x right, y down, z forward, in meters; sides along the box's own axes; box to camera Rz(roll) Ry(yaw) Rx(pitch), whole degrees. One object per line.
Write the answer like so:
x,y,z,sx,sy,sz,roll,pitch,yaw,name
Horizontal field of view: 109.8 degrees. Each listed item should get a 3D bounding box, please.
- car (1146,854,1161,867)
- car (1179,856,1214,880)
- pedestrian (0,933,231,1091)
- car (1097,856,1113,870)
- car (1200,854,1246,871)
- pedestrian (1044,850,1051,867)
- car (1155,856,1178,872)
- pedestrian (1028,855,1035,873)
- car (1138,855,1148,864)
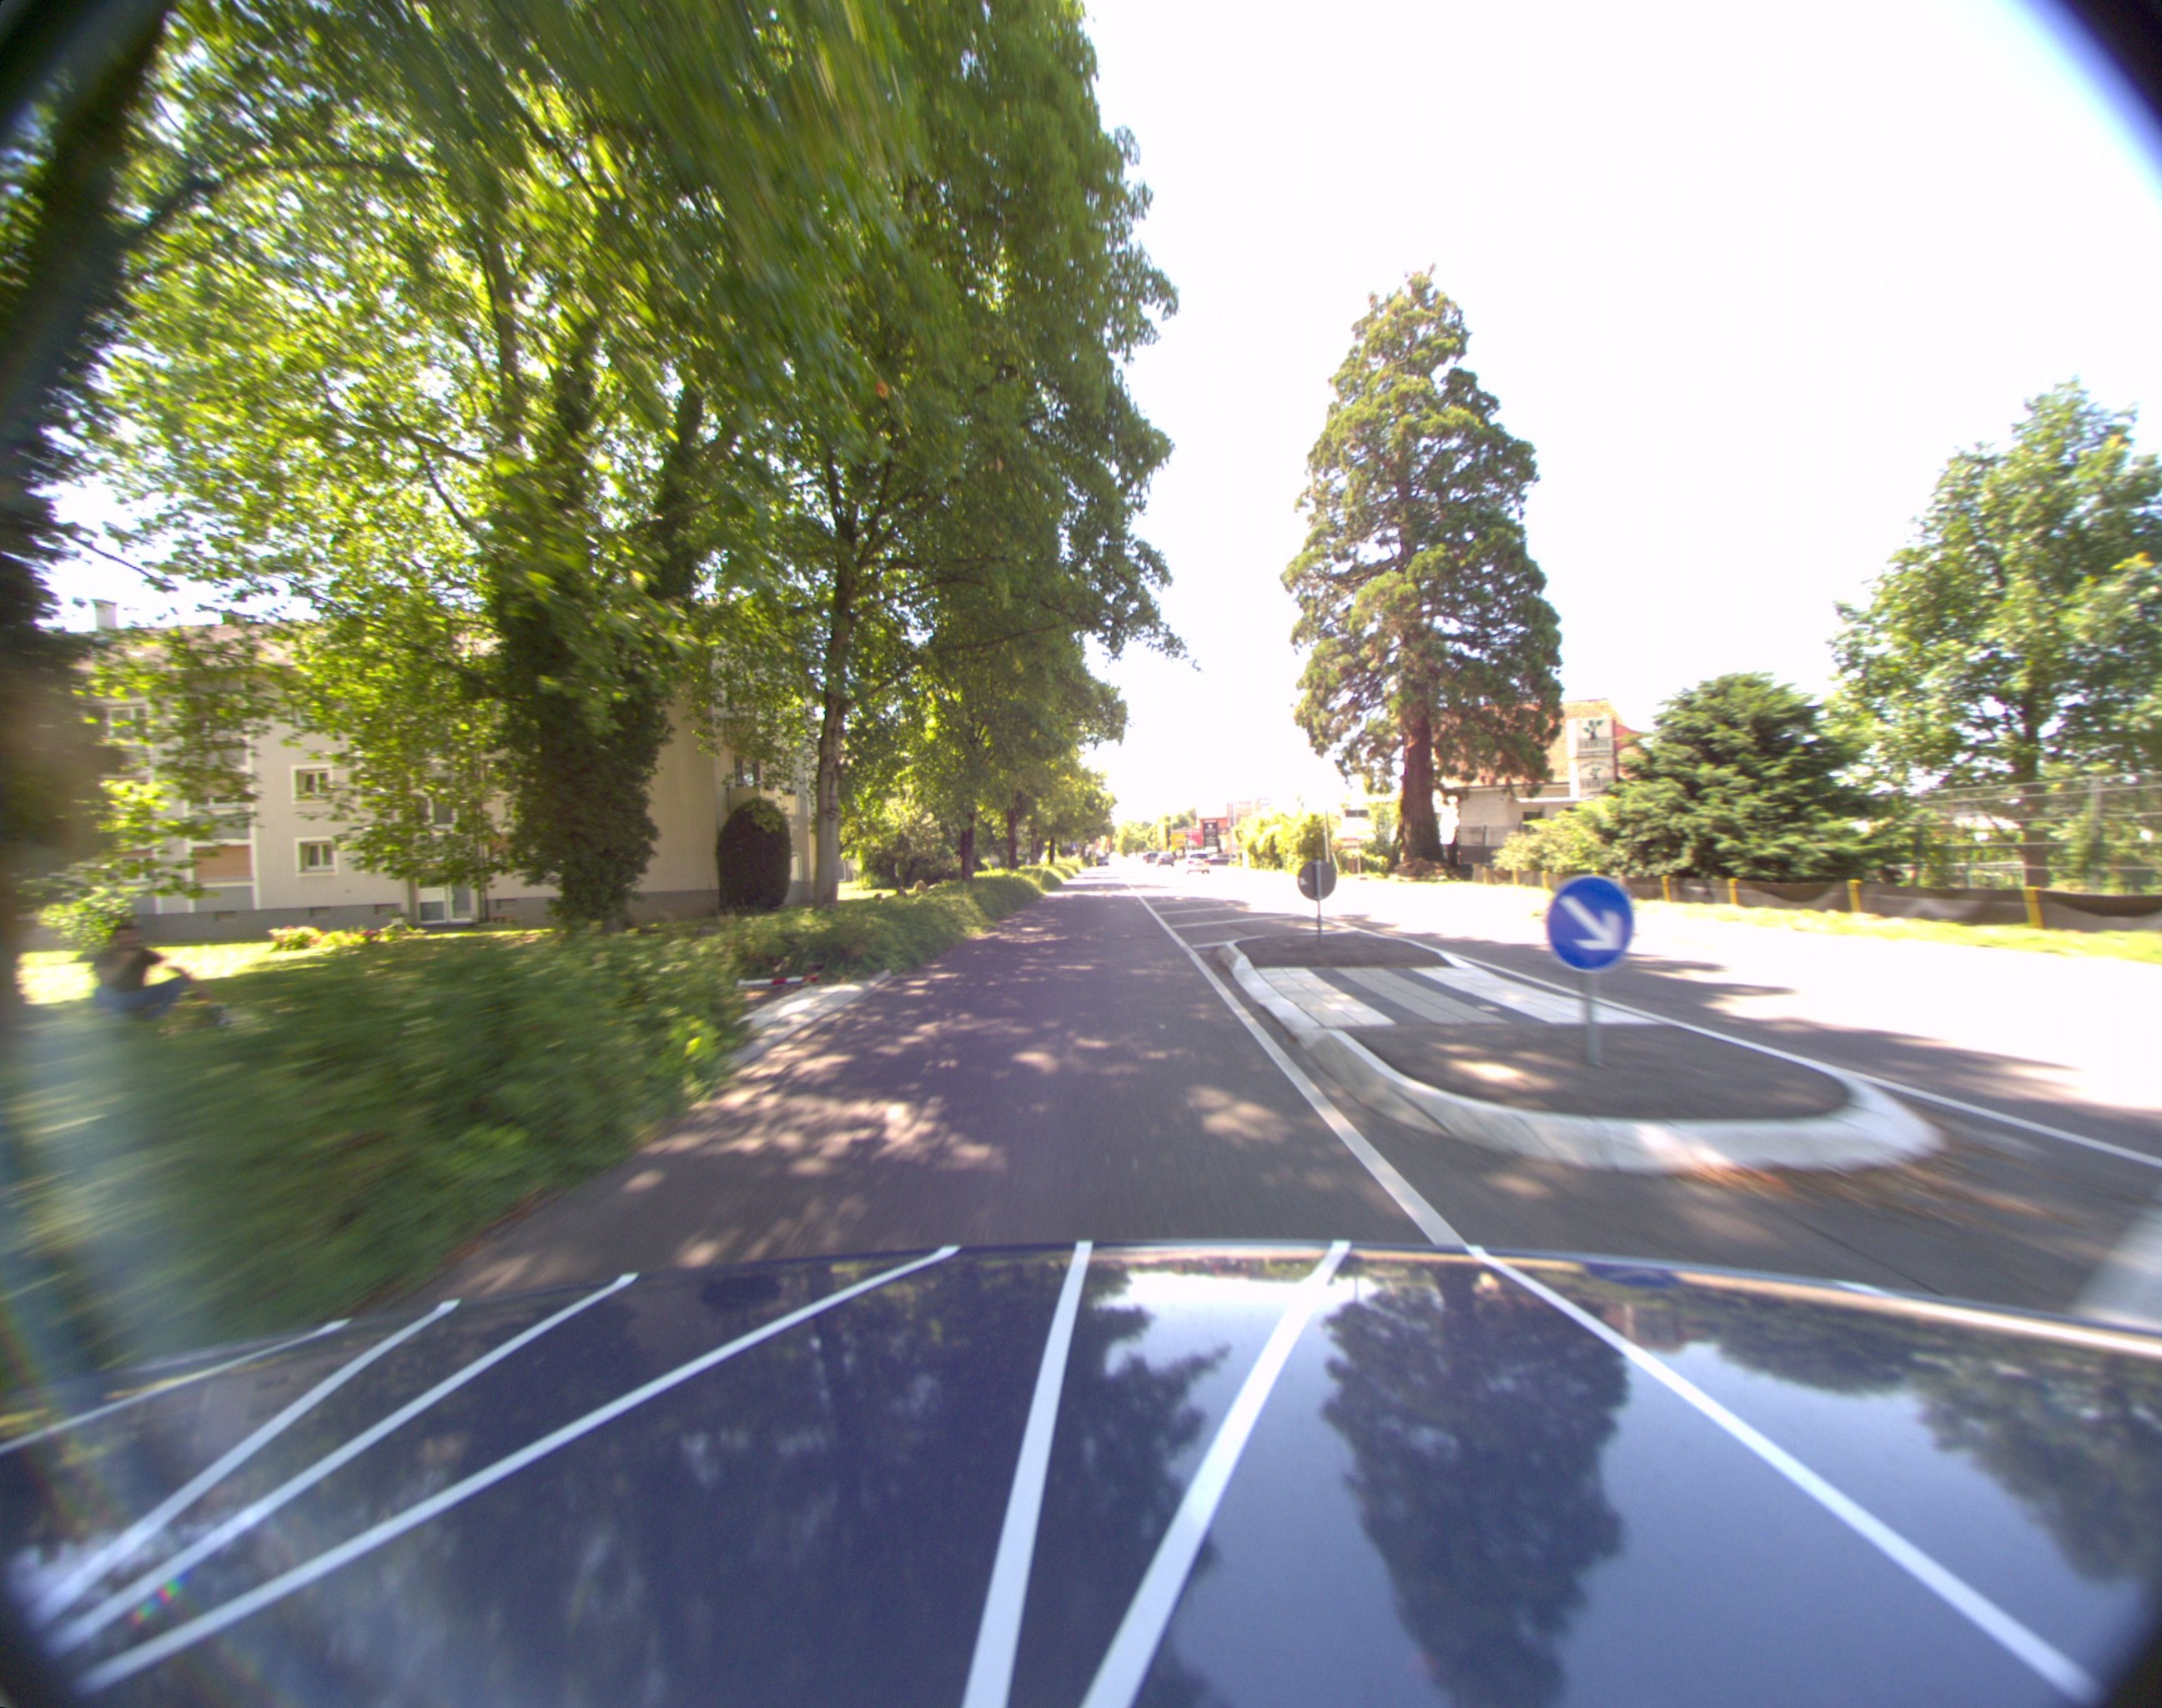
9.785,0.876,103.076,1.883,1.731,4.322,-2,0,3,car
8.258,0.967,54.745,1.787,1.635,4.689,0,0,0,car
-9.326,1.478,7.365,0.940,1.285,1.070,-2,1,13,pedestrian
3.096,1.152,98.032,1.883,1.623,4.322,-2,0,3,car
14.443,0.848,77.491,4.311,1.540,1.888,-2,0,20,car
-3.873,0.490,88.115,0.677,1.914,0.621,-3,1,2,pedestrian
8.930,1.020,79.791,1.884,1.540,4.321,-2,0,1,car
-5.419,1.096,82.937,0.677,1.914,0.621,-3,1,2,pedestrian
11.821,1.122,145.190,1.883,1.623,4.322,-2,0,3,car
